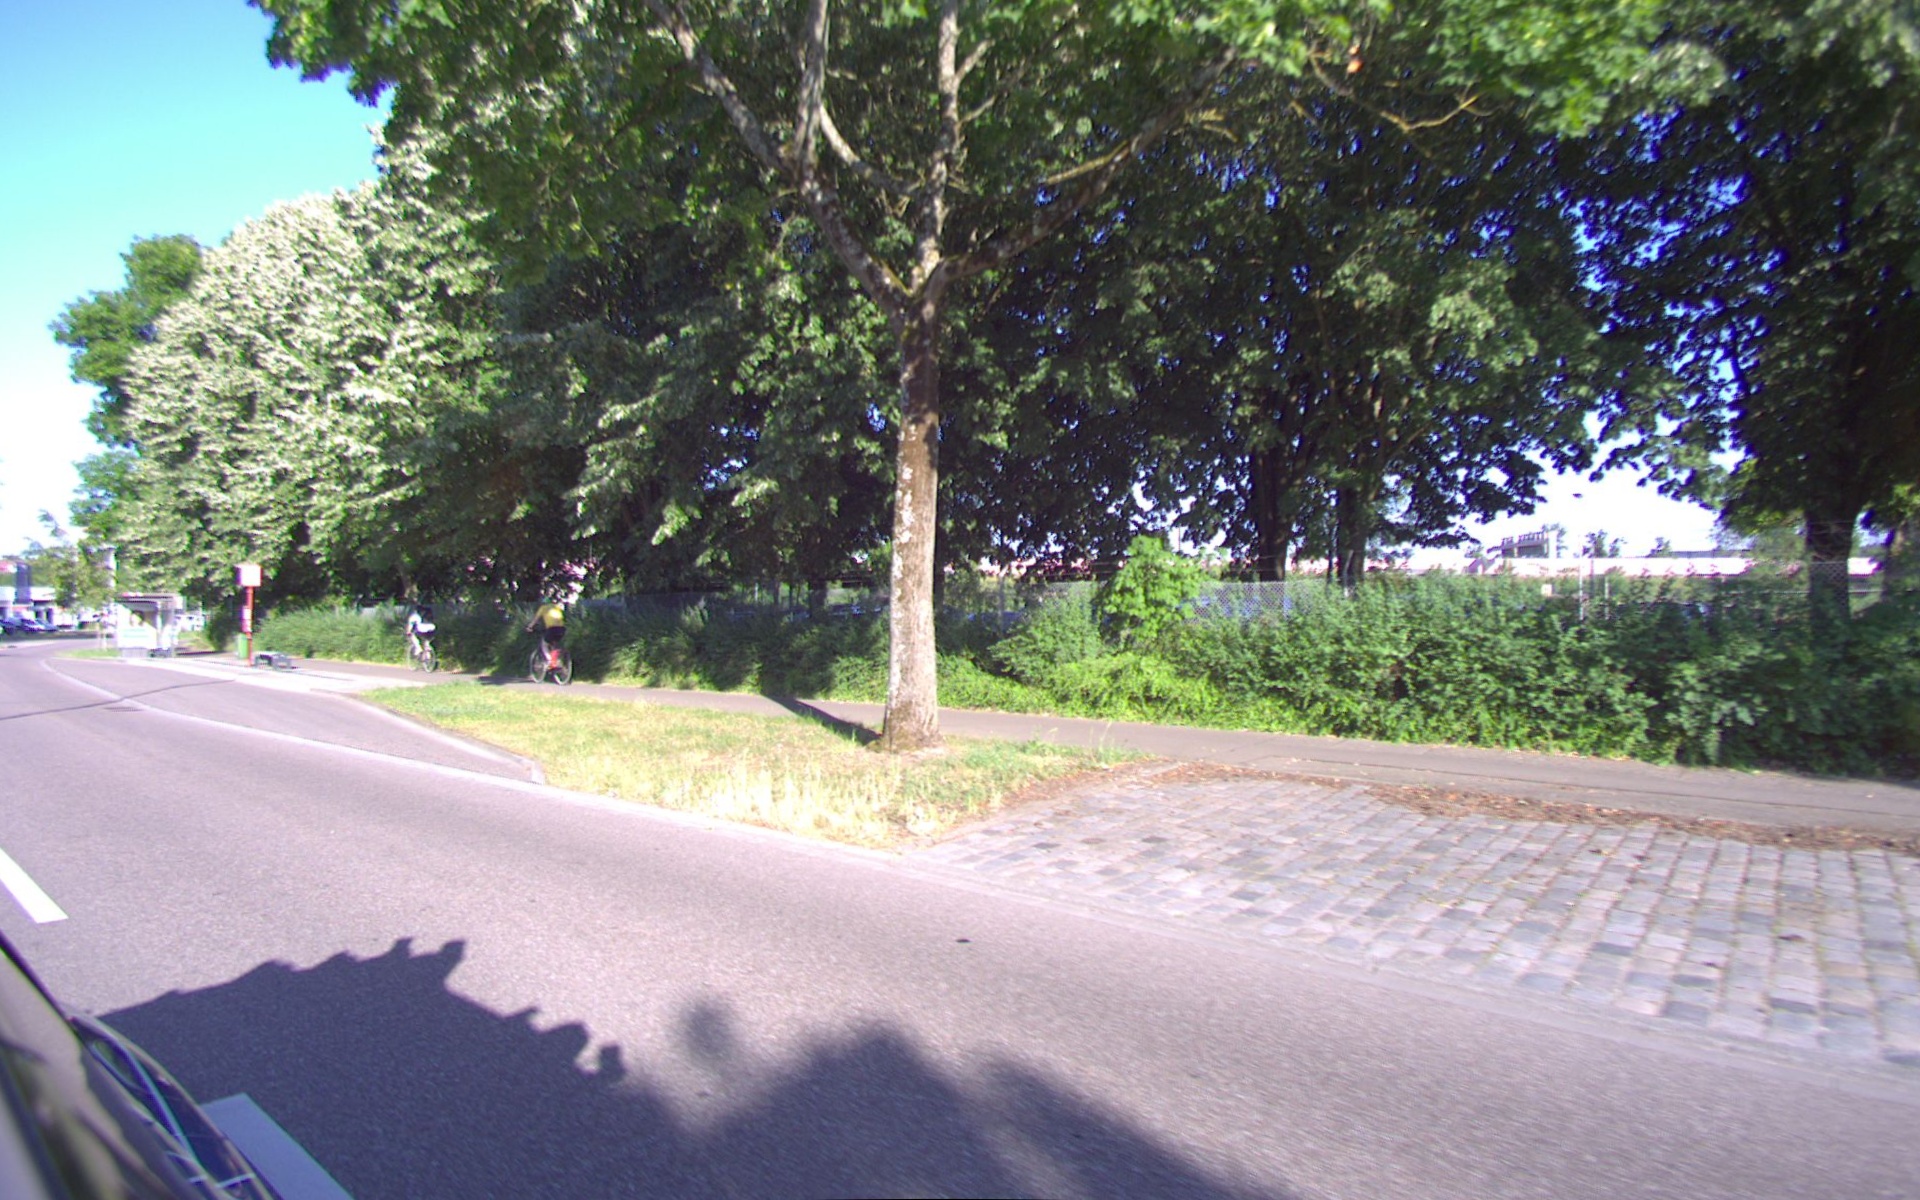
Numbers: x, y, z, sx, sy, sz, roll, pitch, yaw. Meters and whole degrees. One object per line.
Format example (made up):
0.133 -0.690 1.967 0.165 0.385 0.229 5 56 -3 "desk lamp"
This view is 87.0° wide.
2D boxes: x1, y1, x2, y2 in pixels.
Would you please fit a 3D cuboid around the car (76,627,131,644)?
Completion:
-100.541 4.189 118.874 4.788 2.029 2.295 -1 -2 7 "car"

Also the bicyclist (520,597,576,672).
-8.707 0.724 21.386 0.951 1.542 0.723 -2 -3 41 "bicyclist"

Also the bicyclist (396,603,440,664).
-14.168 0.878 26.458 0.951 1.541 0.723 -2 -3 41 "bicyclist"

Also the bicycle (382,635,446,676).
-14.389 1.438 26.654 2.216 1.047 0.757 -2 -2 41 "bicycle"

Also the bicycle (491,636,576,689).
-8.954 1.284 21.210 2.216 1.047 0.757 -2 -2 41 "bicycle"

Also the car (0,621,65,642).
-95.722 3.228 103.897 5.205 2.029 2.410 0 -2 -9 "car"
